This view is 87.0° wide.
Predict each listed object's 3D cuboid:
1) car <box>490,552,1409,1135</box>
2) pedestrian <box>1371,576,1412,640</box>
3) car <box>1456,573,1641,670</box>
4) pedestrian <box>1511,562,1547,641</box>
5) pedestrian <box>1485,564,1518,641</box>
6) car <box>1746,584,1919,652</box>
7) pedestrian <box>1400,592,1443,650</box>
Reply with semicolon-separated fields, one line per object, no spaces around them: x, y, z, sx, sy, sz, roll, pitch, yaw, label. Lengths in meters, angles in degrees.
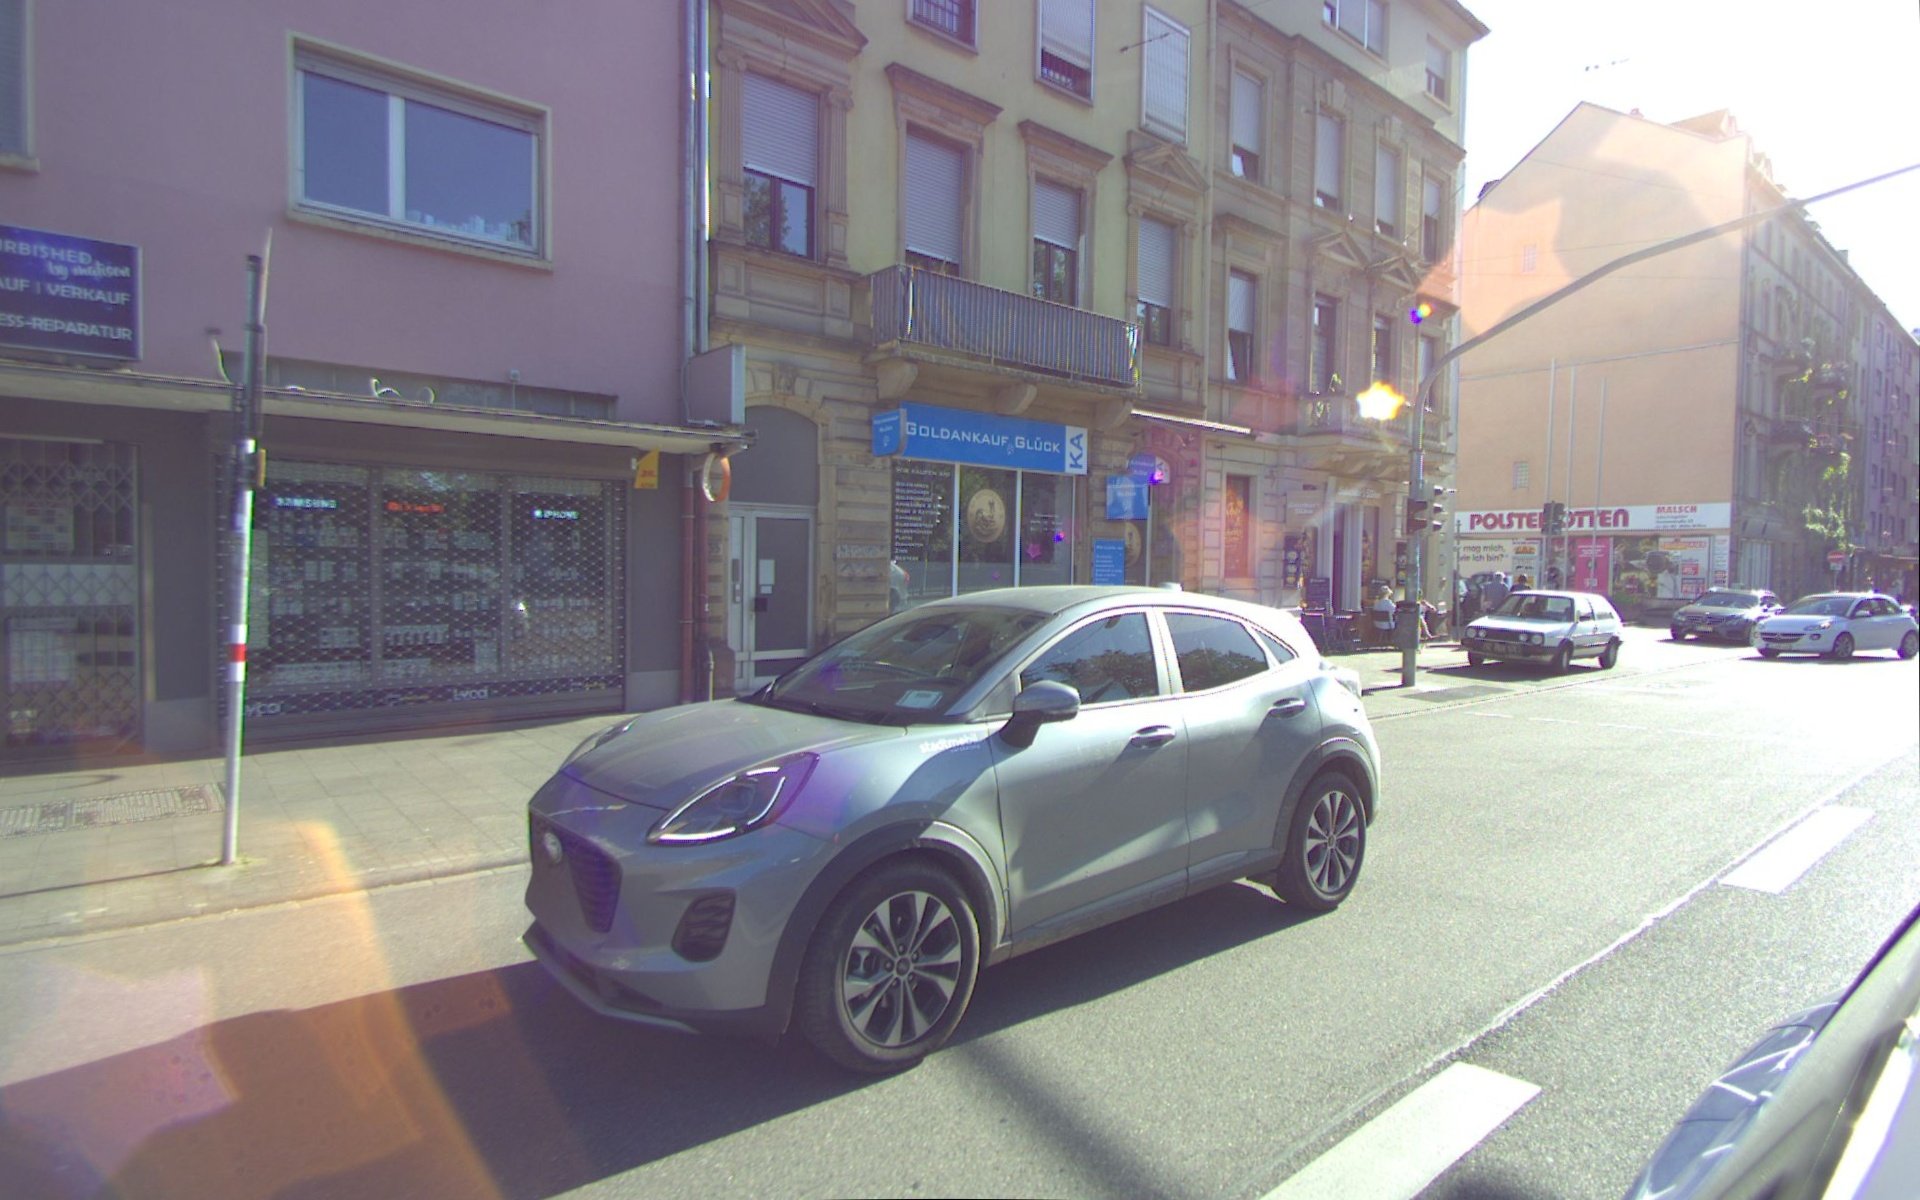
0.212;0.602;4.486;3.900;1.500;1.659;-1;0;-39;car
8.850;0.149;20.754;0.648;1.275;0.495;-1;2;-38;pedestrian
11.007;0.317;18.846;3.930;1.537;1.739;-1;4;-41;car
13.162;0.027;23.406;0.648;1.784;0.495;-1;2;-40;pedestrian
12.783;0.058;23.886;0.648;1.784;0.495;0;0;-40;pedestrian
20.506;0.365;23.331;3.916;1.469;1.821;0;0;-17;car
9.768;0.432;21.427;0.485;1.185;0.661;0;1;-26;pedestrian
